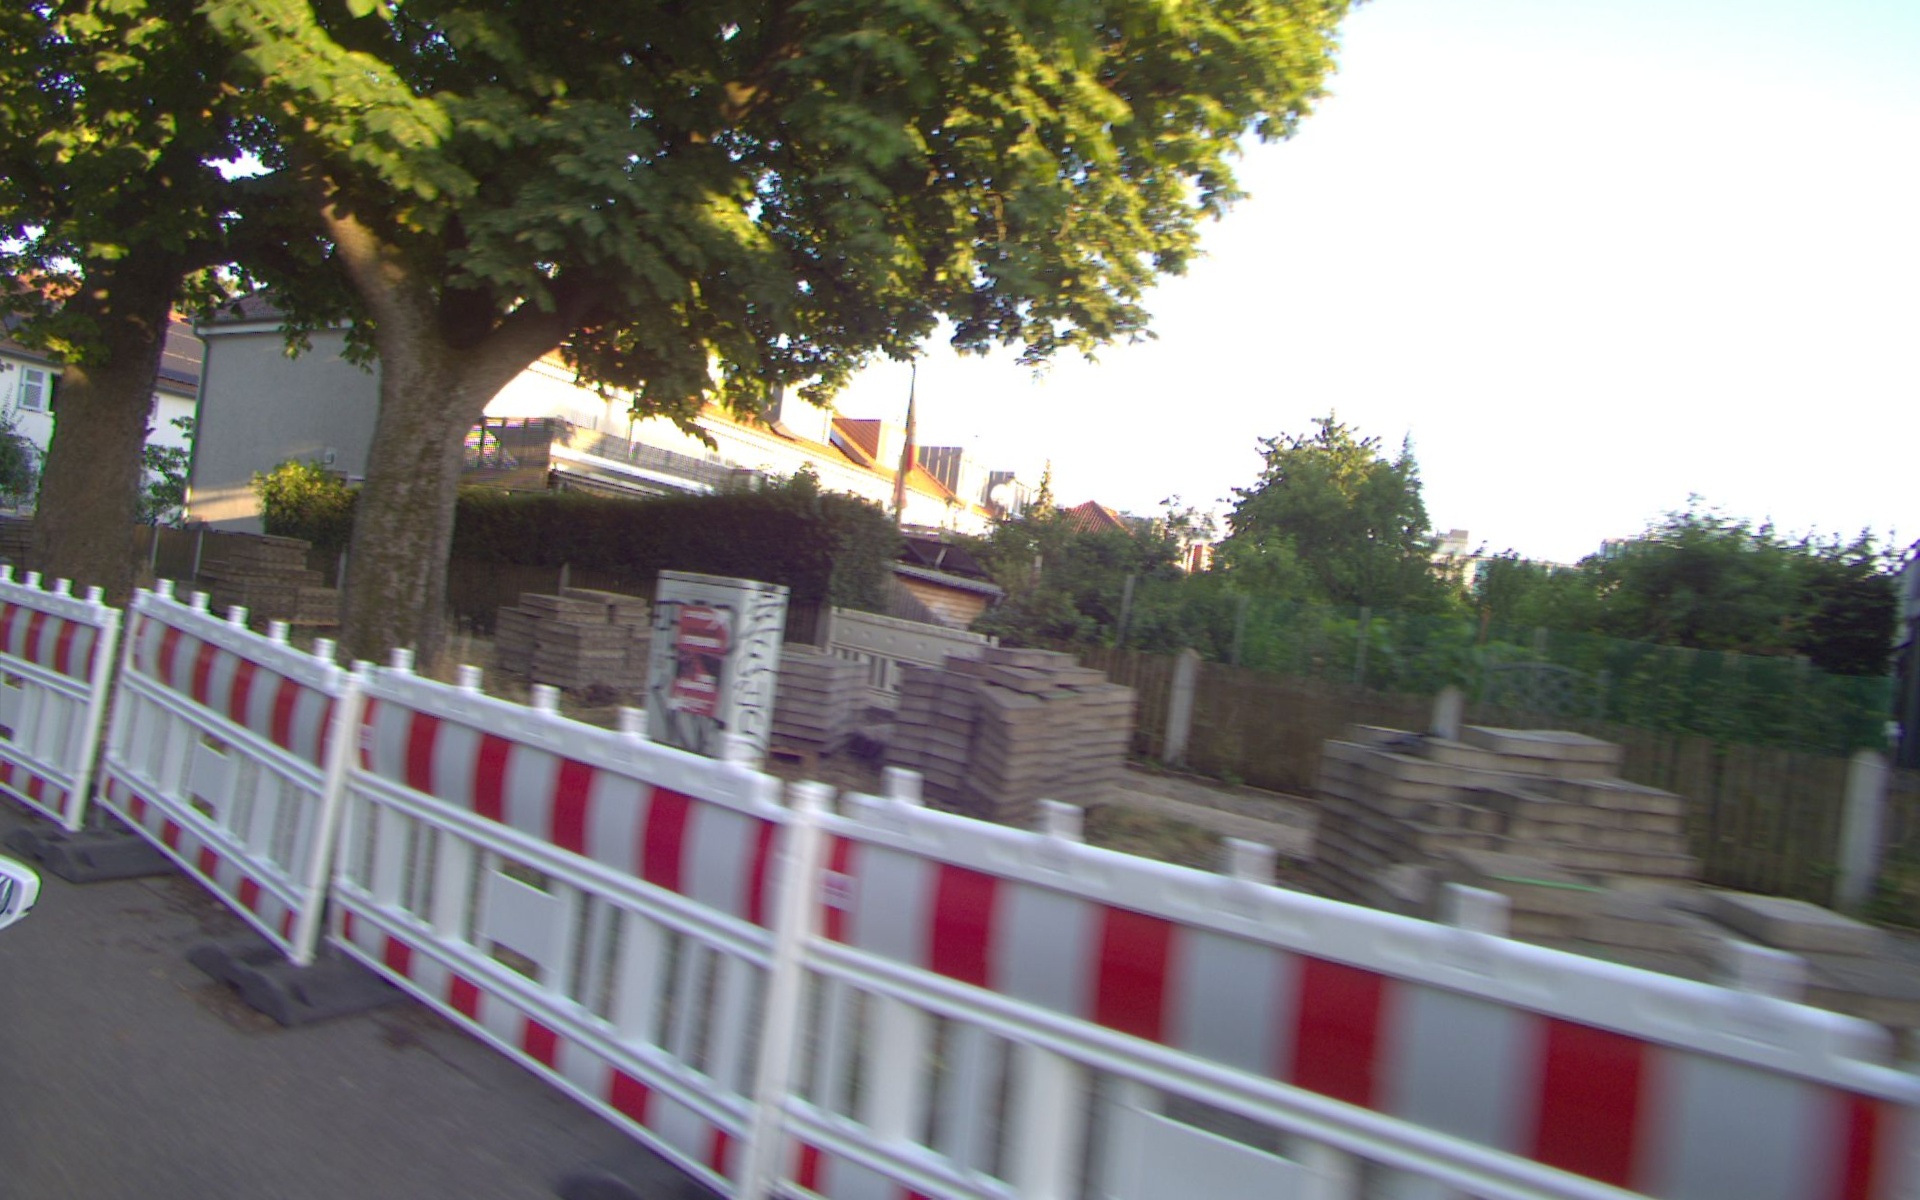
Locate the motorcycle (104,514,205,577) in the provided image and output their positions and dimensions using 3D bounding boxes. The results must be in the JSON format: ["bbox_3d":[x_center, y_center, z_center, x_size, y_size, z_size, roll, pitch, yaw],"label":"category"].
[{"bbox_3d":[-23.076,-1.544,28.856,2.048,1.433,0.596,9,-1,-13],"label":"motorcycle"}]

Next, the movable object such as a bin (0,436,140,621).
[{"bbox_3d":[-15.452,-1.309,15.176,5.104,2.430,2.637,8,-2,25],"label":"movable object such as a bin"}]

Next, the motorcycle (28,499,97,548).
[{"bbox_3d":[-23.665,-1.998,26.556,0.573,1.118,1.839,8,-2,-19],"label":"motorcycle"}]
